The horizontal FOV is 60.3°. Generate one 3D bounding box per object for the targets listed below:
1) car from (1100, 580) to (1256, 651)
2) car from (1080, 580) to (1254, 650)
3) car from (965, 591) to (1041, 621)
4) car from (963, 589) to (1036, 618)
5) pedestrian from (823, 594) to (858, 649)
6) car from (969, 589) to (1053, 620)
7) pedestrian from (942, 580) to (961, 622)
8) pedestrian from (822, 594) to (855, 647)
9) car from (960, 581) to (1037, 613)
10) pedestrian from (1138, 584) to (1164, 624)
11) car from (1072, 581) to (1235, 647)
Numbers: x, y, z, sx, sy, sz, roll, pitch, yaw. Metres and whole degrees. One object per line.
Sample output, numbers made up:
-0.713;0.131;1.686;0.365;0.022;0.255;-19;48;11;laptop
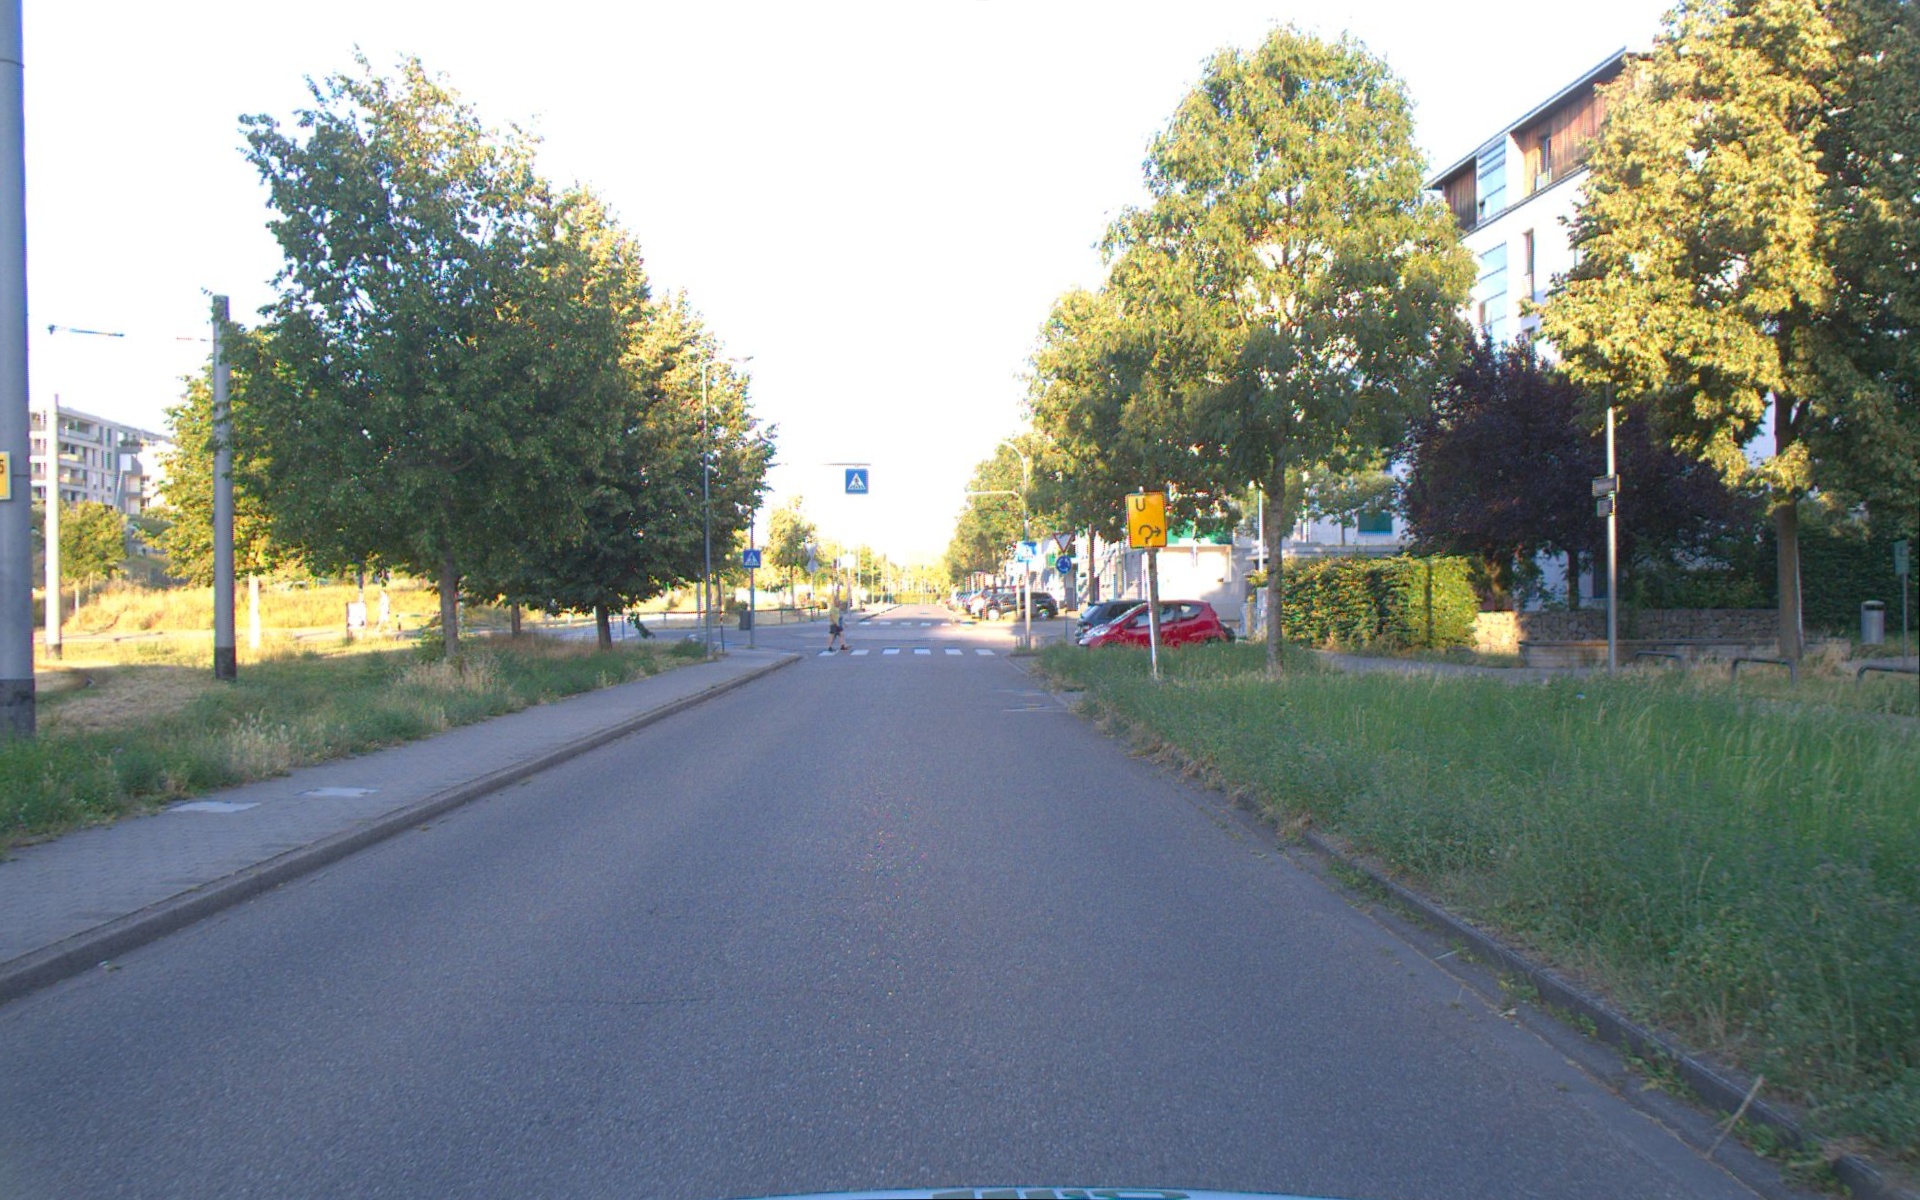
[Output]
5.694;0.390;43.324;3.731;1.534;1.677;-2;5;-8;car
4.706;0.336;37.906;3.727;1.535;1.678;-1;0;-3;car
2.406;0.315;93.359;4.266;1.624;2.000;-1;0;0;car
2.268;0.198;96.087;4.176;1.624;2.000;-1;0;0;car
-3.820;0.675;52.905;1.001;1.723;0.757;-1;0;-12;pedestrian
2.699;0.232;88.260;4.393;1.624;2.000;-1;0;0;car
-0.393;0.045;80.827;0.828;2.049;0.944;-1;0;4;pedestrian
-3.947;0.665;53.853;0.966;1.723;0.698;-1;0;-13;pedestrian
2.583;-0.233;111.381;4.906;2.081;2.247;-1;0;-6;car
8.846;0.168;76.621;0.984;1.819;0.761;1;0;-8;pedestrian
4.698;0.337;40.469;3.727;1.535;1.678;-1;0;-3;car
